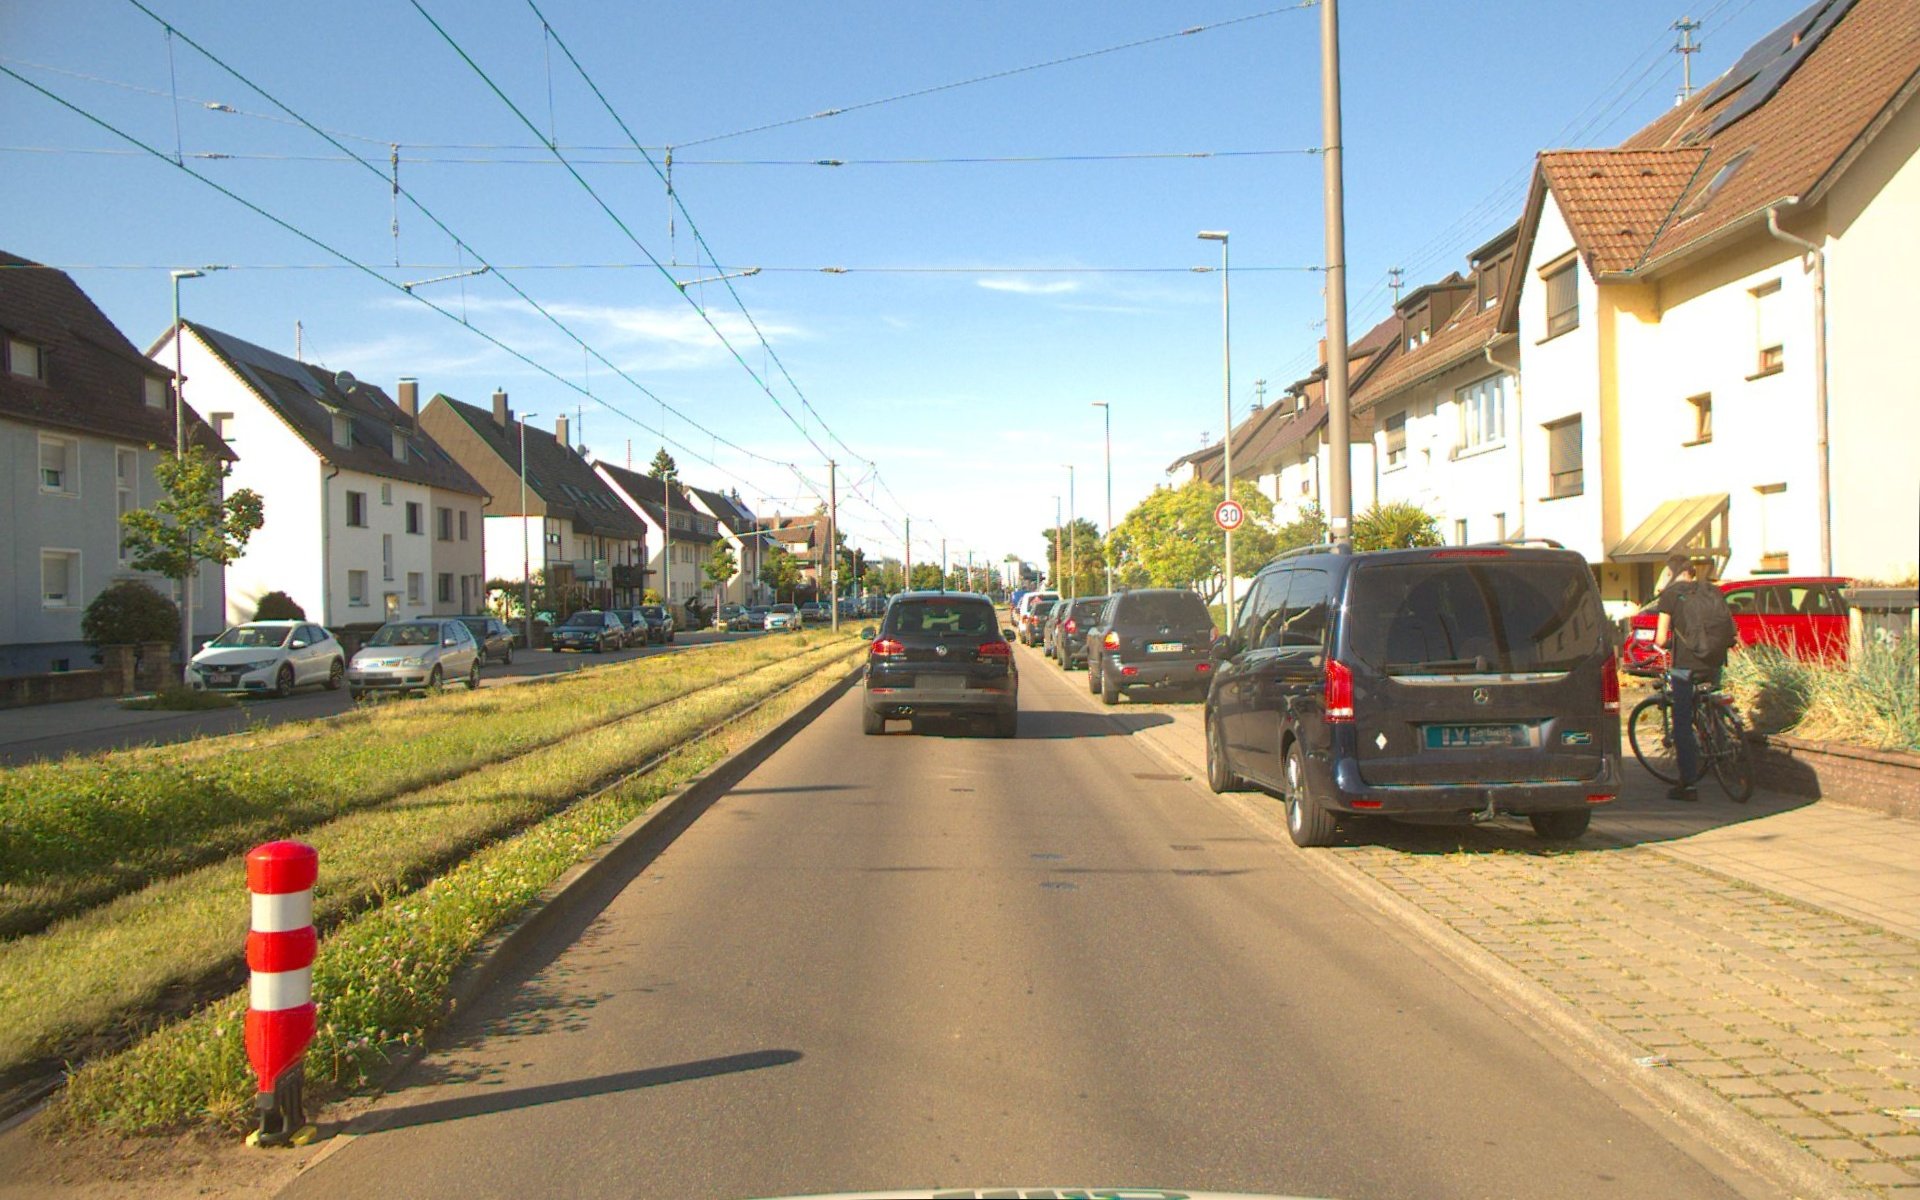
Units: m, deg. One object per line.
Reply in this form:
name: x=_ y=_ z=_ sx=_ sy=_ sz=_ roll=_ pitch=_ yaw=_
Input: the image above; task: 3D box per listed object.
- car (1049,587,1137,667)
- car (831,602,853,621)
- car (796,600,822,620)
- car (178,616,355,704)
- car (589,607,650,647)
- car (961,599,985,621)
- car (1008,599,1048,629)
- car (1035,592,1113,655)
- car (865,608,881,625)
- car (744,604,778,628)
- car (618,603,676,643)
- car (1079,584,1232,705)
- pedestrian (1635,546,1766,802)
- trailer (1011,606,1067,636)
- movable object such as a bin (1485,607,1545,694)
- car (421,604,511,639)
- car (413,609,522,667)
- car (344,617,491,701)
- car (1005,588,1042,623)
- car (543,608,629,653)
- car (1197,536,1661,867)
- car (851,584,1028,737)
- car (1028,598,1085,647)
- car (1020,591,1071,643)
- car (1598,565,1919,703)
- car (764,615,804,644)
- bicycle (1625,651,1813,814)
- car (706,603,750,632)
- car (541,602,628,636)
car: x=2.883 y=0.569 z=36.571 sx=1.632 sy=1.574 sz=3.836 roll=-3 pitch=0 yaw=1
car: x=-10.785 y=1.094 z=151.757 sx=1.625 sy=1.609 sz=4.000 roll=-2 pitch=-2 yaw=1
car: x=-11.776 y=0.755 z=129.399 sx=1.625 sy=1.523 sz=3.580 roll=-2 pitch=0 yaw=1
car: x=-13.732 y=1.142 z=33.014 sx=1.657 sy=1.544 sz=4.215 roll=-2 pitch=0 yaw=1
car: x=-13.674 y=1.066 z=66.561 sx=1.489 sy=1.501 sz=4.201 roll=-1 pitch=0 yaw=1
car: x=0.891 y=0.639 z=109.613 sx=1.540 sy=1.415 sz=3.614 roll=-1 pitch=0 yaw=0
car: x=3.578 y=0.705 z=87.557 sx=1.750 sy=1.466 sz=4.458 roll=-3 pitch=0 yaw=-1
car: x=2.910 y=0.600 z=42.886 sx=1.583 sy=1.501 sz=4.448 roll=-2 pitch=0 yaw=-1
car: x=-9.153 y=1.713 z=174.518 sx=1.435 sy=1.706 sz=3.287 roll=-2 pitch=-1 yaw=1
car: x=-12.766 y=1.027 z=106.262 sx=1.585 sy=1.434 sz=3.717 roll=-2 pitch=-2 yaw=1
car: x=-13.581 y=0.961 z=72.082 sx=1.767 sy=1.625 sz=4.810 roll=-1 pitch=0 yaw=-3
car: x=2.965 y=0.636 z=25.978 sx=1.816 sy=1.688 sz=4.473 roll=-2 pitch=0 yaw=0
pedestrian: x=5.268 y=0.513 z=11.800 sx=0.570 sy=1.753 sz=0.714 roll=-2 pitch=0 yaw=1
trailer: x=3.345 y=0.892 z=70.818 sx=2.159 sy=1.113 sz=4.371 roll=-3 pitch=0 yaw=0
movable object such as a bin: x=7.452 y=0.675 z=22.224 sx=0.655 sy=1.133 sz=0.317 roll=-3 pitch=0 yaw=0
car: x=-25.583 y=1.104 z=85.726 sx=4.071 sy=1.683 sz=1.858 roll=-1 pitch=0 yaw=3
car: x=-13.917 y=1.044 z=46.983 sx=1.753 sy=1.488 sz=4.167 roll=-1 pitch=0 yaw=1
car: x=-10.330 y=1.089 z=31.732 sx=1.518 sy=1.436 sz=3.659 roll=-2 pitch=0 yaw=1
car: x=3.600 y=0.291 z=93.933 sx=1.952 sy=1.894 sz=4.918 roll=-2 pitch=0 yaw=1
car: x=-13.735 y=1.085 z=61.047 sx=1.837 sy=1.549 sz=4.882 roll=-1 pitch=0 yaw=3
car: x=3.078 y=0.591 z=12.075 sx=1.922 sy=1.868 sz=4.926 roll=-2 pitch=0 yaw=0
car: x=-0.361 y=0.695 z=20.626 sx=1.777 sy=1.700 sz=4.251 roll=0 pitch=-1 yaw=-7
car: x=3.146 y=0.728 z=54.602 sx=1.636 sy=1.478 sz=4.126 roll=-2 pitch=0 yaw=0
car: x=3.099 y=0.586 z=60.571 sx=1.655 sy=1.808 sz=4.656 roll=-2 pitch=0 yaw=1
car: x=10.278 y=0.382 z=20.363 sx=4.080 sy=1.493 sz=1.900 roll=-2 pitch=1 yaw=-1
car: x=-9.743 y=1.654 z=91.609 sx=1.673 sy=1.517 sz=4.024 roll=-2 pitch=-2 yaw=1
bicycle: x=5.289 y=0.894 z=11.620 sx=0.588 sy=0.996 sz=1.562 roll=-3 pitch=-1 yaw=2
car: x=-13.101 y=0.978 z=93.516 sx=1.584 sy=1.478 sz=3.720 roll=-2 pitch=0 yaw=5
car: x=-19.485 y=0.965 z=85.938 sx=4.083 sy=1.645 sz=1.758 roll=-1 pitch=0 yaw=-4
